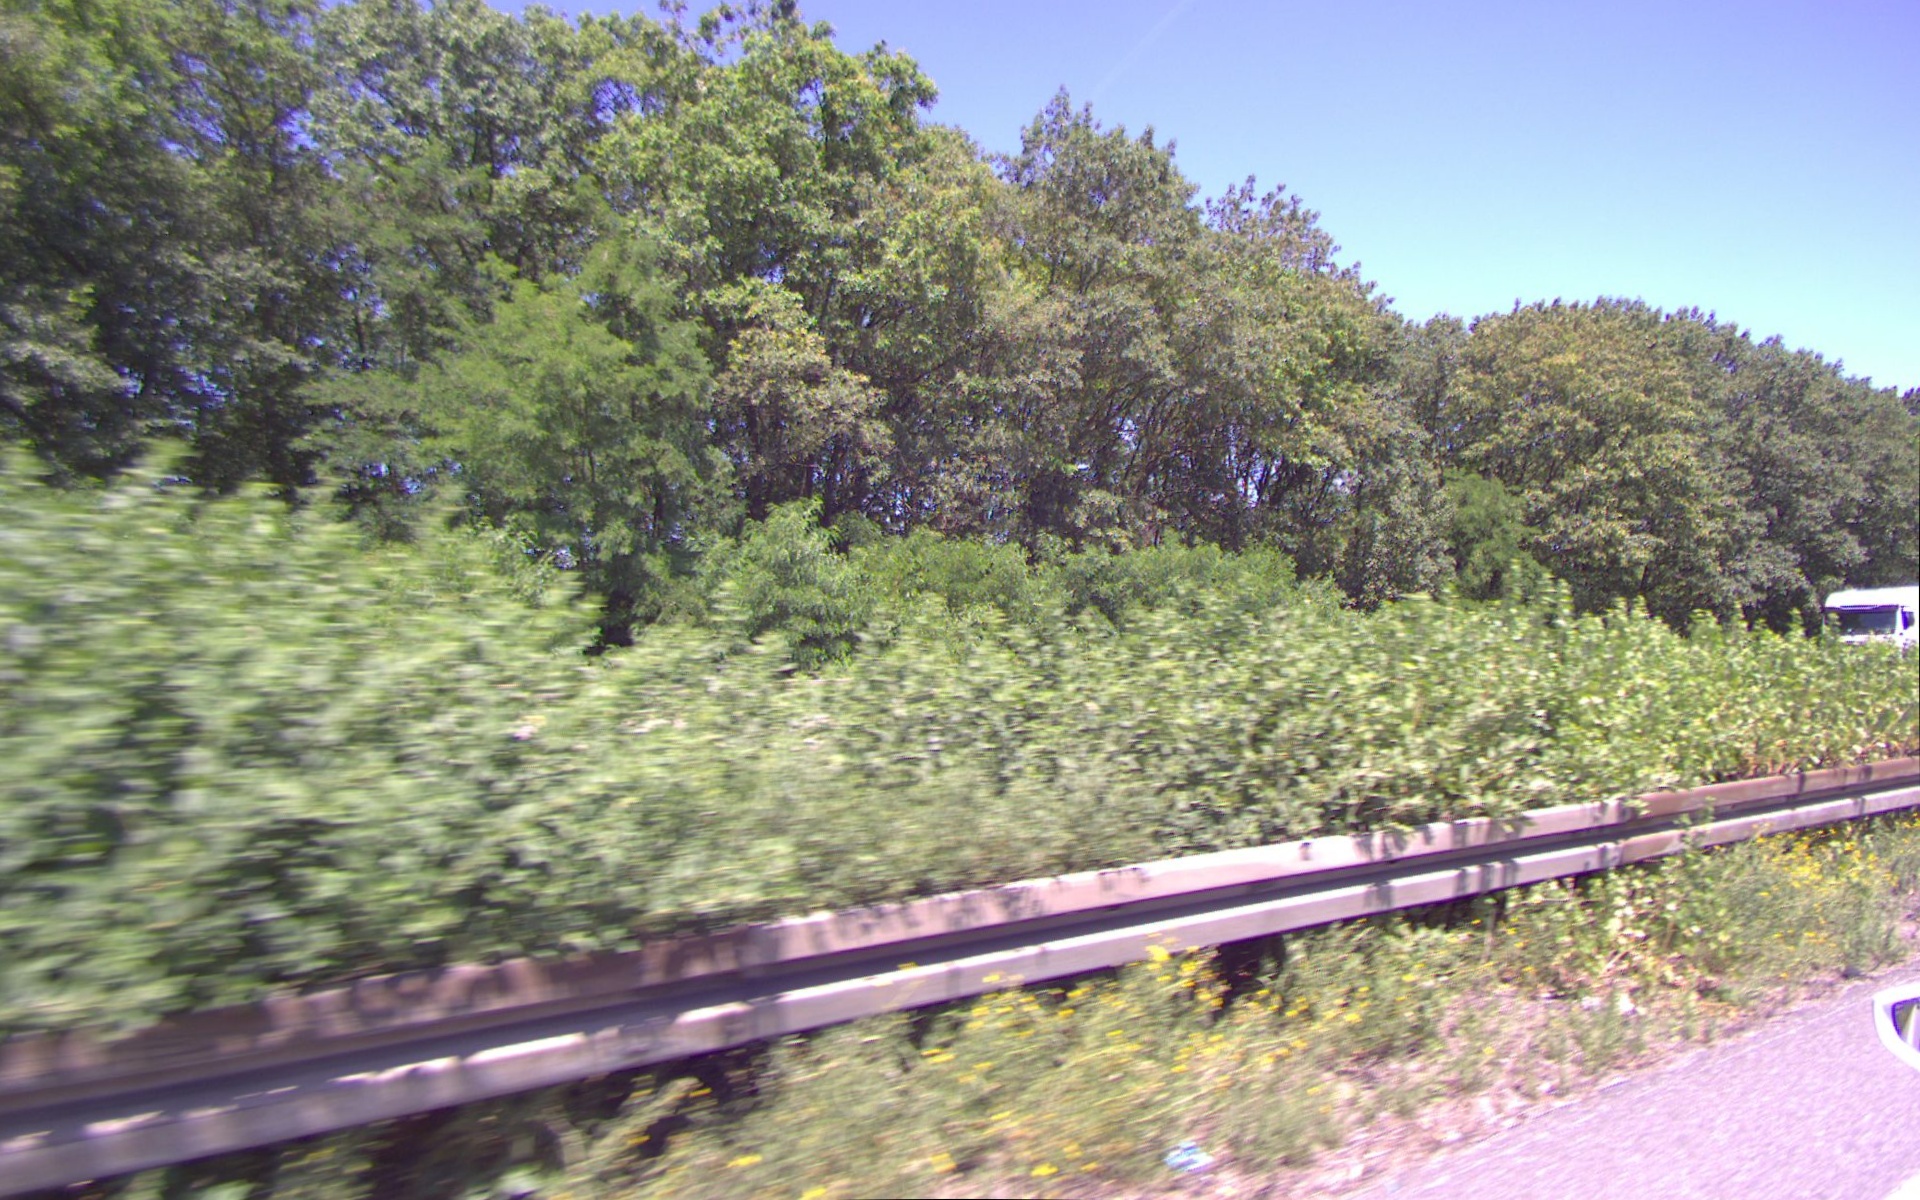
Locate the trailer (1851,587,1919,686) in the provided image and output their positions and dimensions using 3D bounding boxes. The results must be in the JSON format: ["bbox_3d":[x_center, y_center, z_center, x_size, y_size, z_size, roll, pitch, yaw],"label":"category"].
[{"bbox_3d":[43.428,1.625,43.753,13.483,3.929,2.896,2,-1,-31],"label":"trailer"}]

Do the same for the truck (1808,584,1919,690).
[{"bbox_3d":[35.987,1.430,39.302,4.827,3.874,2.876,2,-1,-30],"label":"truck"}]
